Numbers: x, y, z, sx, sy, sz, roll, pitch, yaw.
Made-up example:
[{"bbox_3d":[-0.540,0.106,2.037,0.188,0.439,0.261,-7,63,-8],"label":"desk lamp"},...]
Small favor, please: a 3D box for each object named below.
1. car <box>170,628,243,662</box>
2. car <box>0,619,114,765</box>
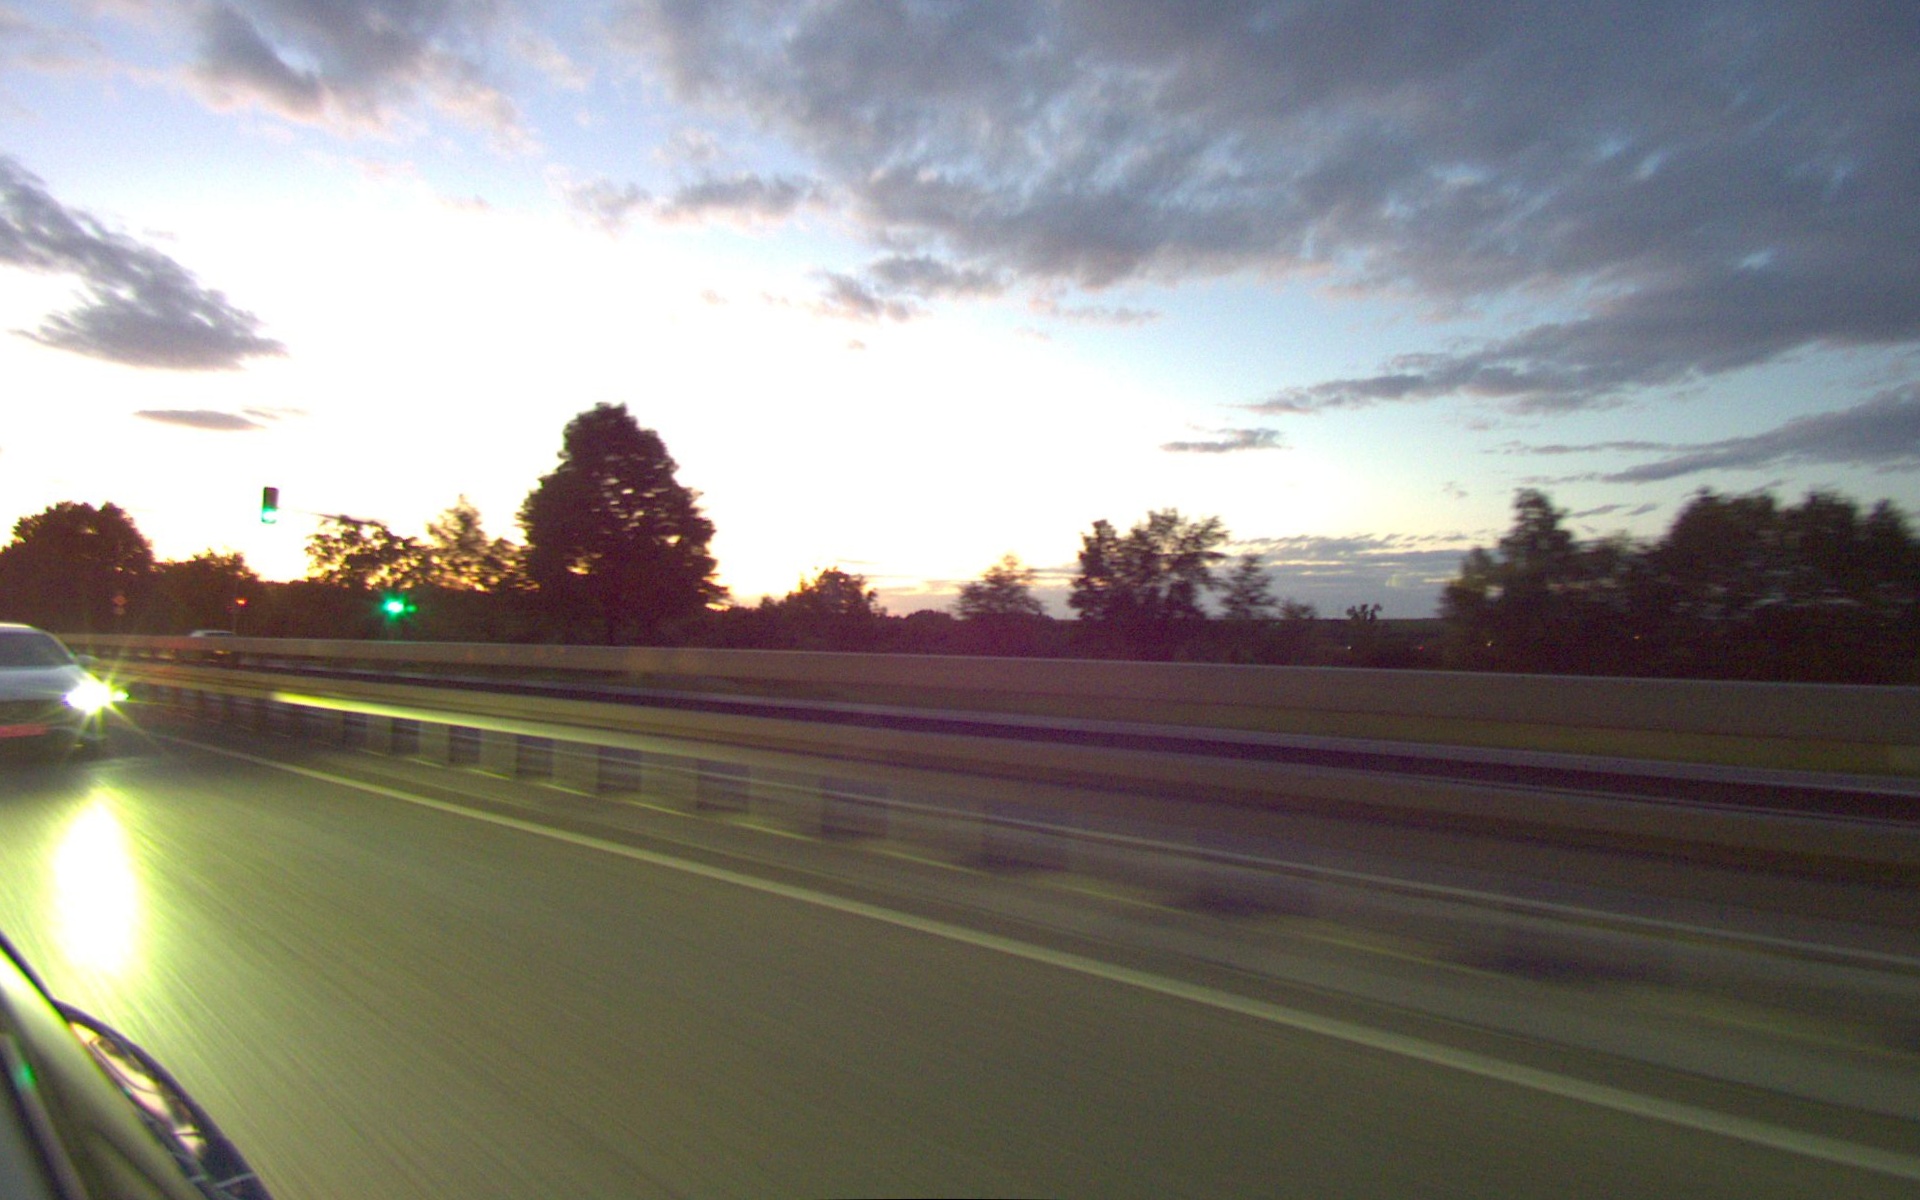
[{"bbox_3d":[-33.820,2.000,45.413,4.024,1.395,1.636,-1,0,38],"label":"car"},{"bbox_3d":[-11.454,1.002,11.666,4.641,1.447,1.797,-2,-1,39],"label":"car"}]
